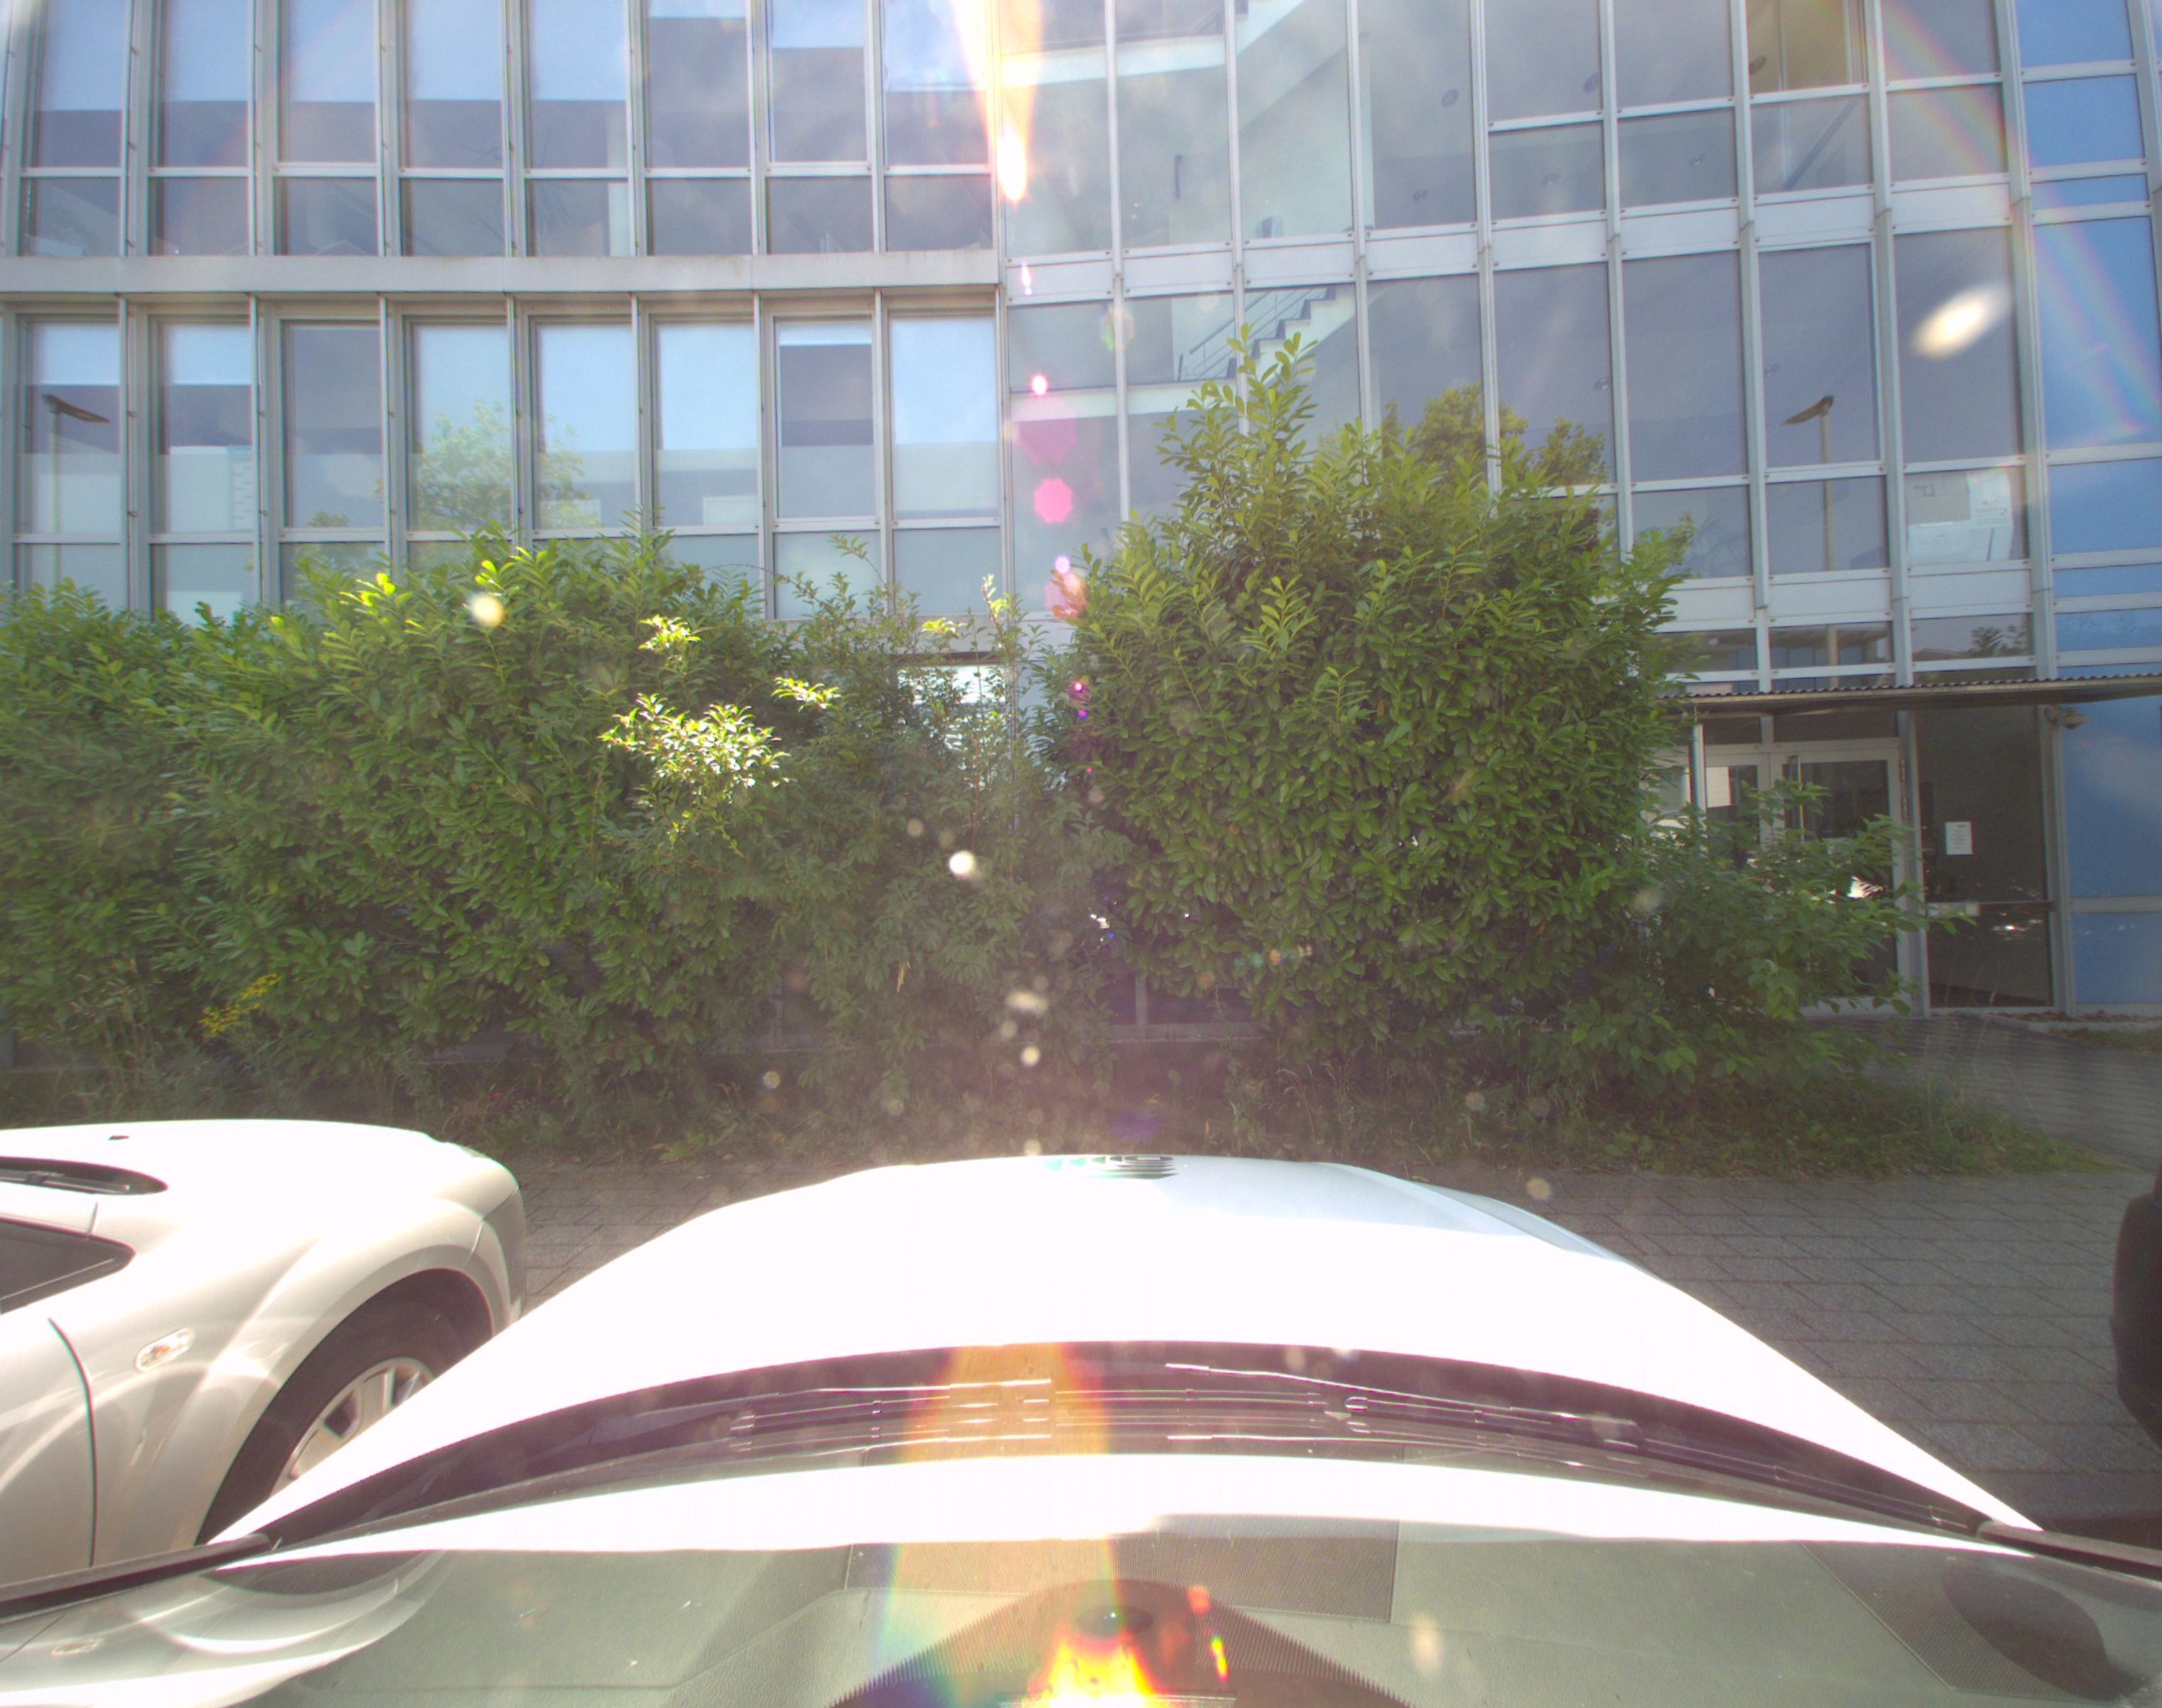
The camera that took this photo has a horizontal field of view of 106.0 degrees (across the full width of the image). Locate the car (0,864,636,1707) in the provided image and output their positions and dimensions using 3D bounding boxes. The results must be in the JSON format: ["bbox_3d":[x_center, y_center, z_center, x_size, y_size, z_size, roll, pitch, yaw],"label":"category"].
[{"bbox_3d":[-2.187,0.773,0.173,1.713,1.479,4.349,-1,0,1],"label":"car"}]
